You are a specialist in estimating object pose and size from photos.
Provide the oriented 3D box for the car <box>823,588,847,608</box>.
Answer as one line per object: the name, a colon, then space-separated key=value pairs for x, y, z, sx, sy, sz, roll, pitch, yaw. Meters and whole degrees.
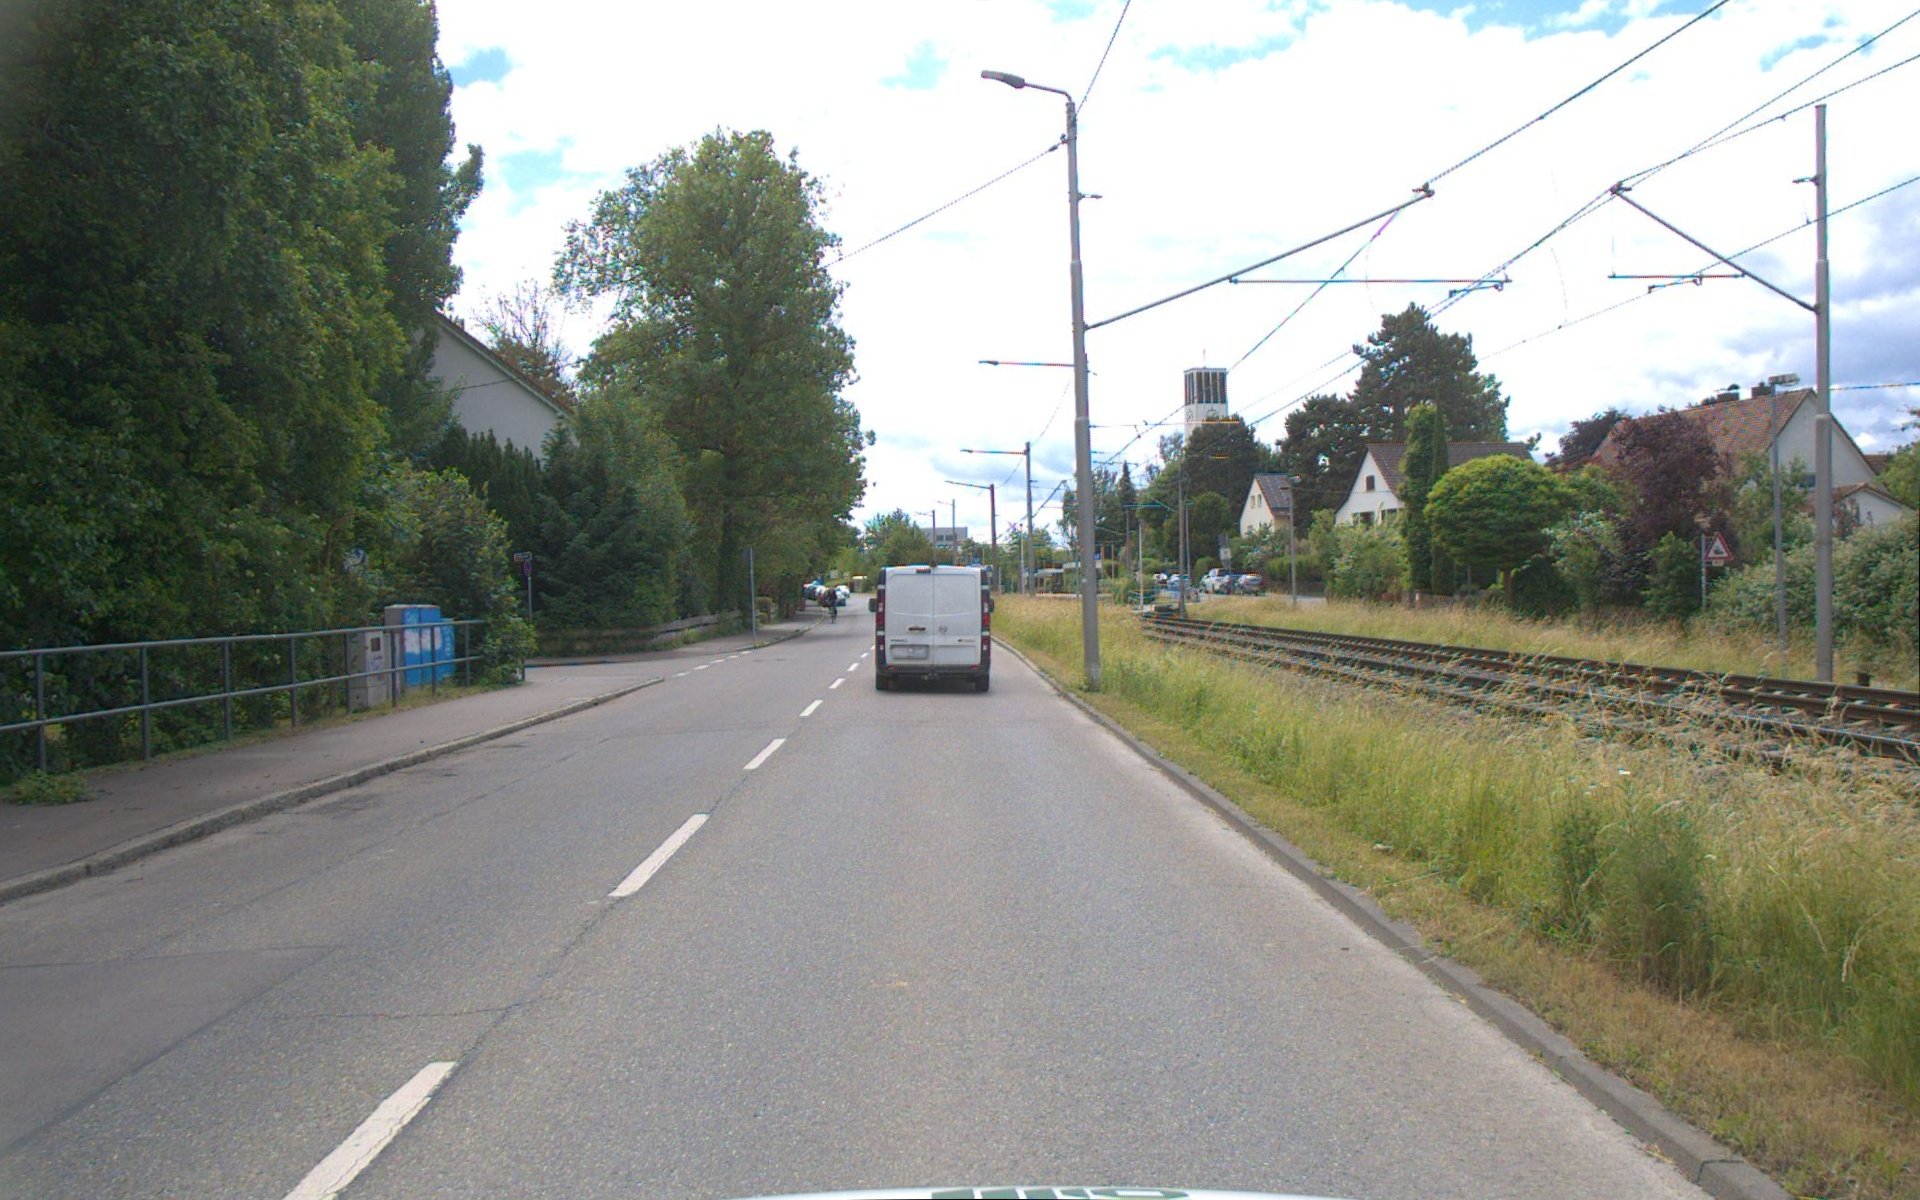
car: x=-10.511 y=-0.169 z=138.691 sx=1.704 sy=1.531 sz=4.470 roll=-3 pitch=1 yaw=-7

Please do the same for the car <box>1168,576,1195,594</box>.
car: x=20.049 y=-1.347 z=149.640 sx=1.845 sy=1.548 sz=4.000 roll=-2 pitch=0 yaw=0

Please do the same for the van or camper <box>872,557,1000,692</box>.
van or camper: x=-0.398 y=0.372 z=27.513 sx=1.953 sy=2.049 sz=4.445 roll=0 pitch=0 yaw=-1

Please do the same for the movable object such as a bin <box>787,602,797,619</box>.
movable object such as a bin: x=-9.342 y=0.572 z=91.855 sx=0.503 sy=0.961 sz=0.568 roll=0 pitch=0 yaw=-2

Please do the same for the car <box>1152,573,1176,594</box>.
car: x=19.495 y=-1.585 z=158.188 sx=1.697 sy=1.947 sz=3.934 roll=0 pitch=0 yaw=-1

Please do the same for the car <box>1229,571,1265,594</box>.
car: x=20.314 y=-1.261 z=117.163 sx=1.845 sy=1.548 sz=4.000 roll=-2 pitch=0 yaw=0

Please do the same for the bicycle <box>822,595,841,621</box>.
bicycle: x=-6.466 y=0.383 z=83.355 sx=0.740 sy=1.248 sz=2.308 roll=-3 pitch=0 yaw=-1

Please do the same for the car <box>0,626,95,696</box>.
car: x=-22.823 y=1.459 z=38.932 sx=3.906 sy=1.544 sz=1.841 roll=-2 pitch=0 yaw=-1

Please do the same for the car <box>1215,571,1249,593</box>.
car: x=20.240 y=-1.312 z=123.216 sx=1.845 sy=1.548 sz=4.000 roll=-2 pitch=0 yaw=0

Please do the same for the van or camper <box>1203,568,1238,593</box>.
van or camper: x=20.134 y=-1.510 z=127.935 sx=1.866 sy=1.857 sz=5.047 roll=-2 pitch=0 yaw=0

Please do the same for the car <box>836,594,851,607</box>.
car: x=-14.052 y=0.045 z=199.729 sx=1.661 sy=1.455 sz=3.783 roll=-4 pitch=1 yaw=-5

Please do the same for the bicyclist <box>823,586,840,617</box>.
bicyclist: x=-6.471 y=0.071 z=83.435 sx=0.762 sy=1.576 sz=0.869 roll=-2 pitch=0 yaw=-2
